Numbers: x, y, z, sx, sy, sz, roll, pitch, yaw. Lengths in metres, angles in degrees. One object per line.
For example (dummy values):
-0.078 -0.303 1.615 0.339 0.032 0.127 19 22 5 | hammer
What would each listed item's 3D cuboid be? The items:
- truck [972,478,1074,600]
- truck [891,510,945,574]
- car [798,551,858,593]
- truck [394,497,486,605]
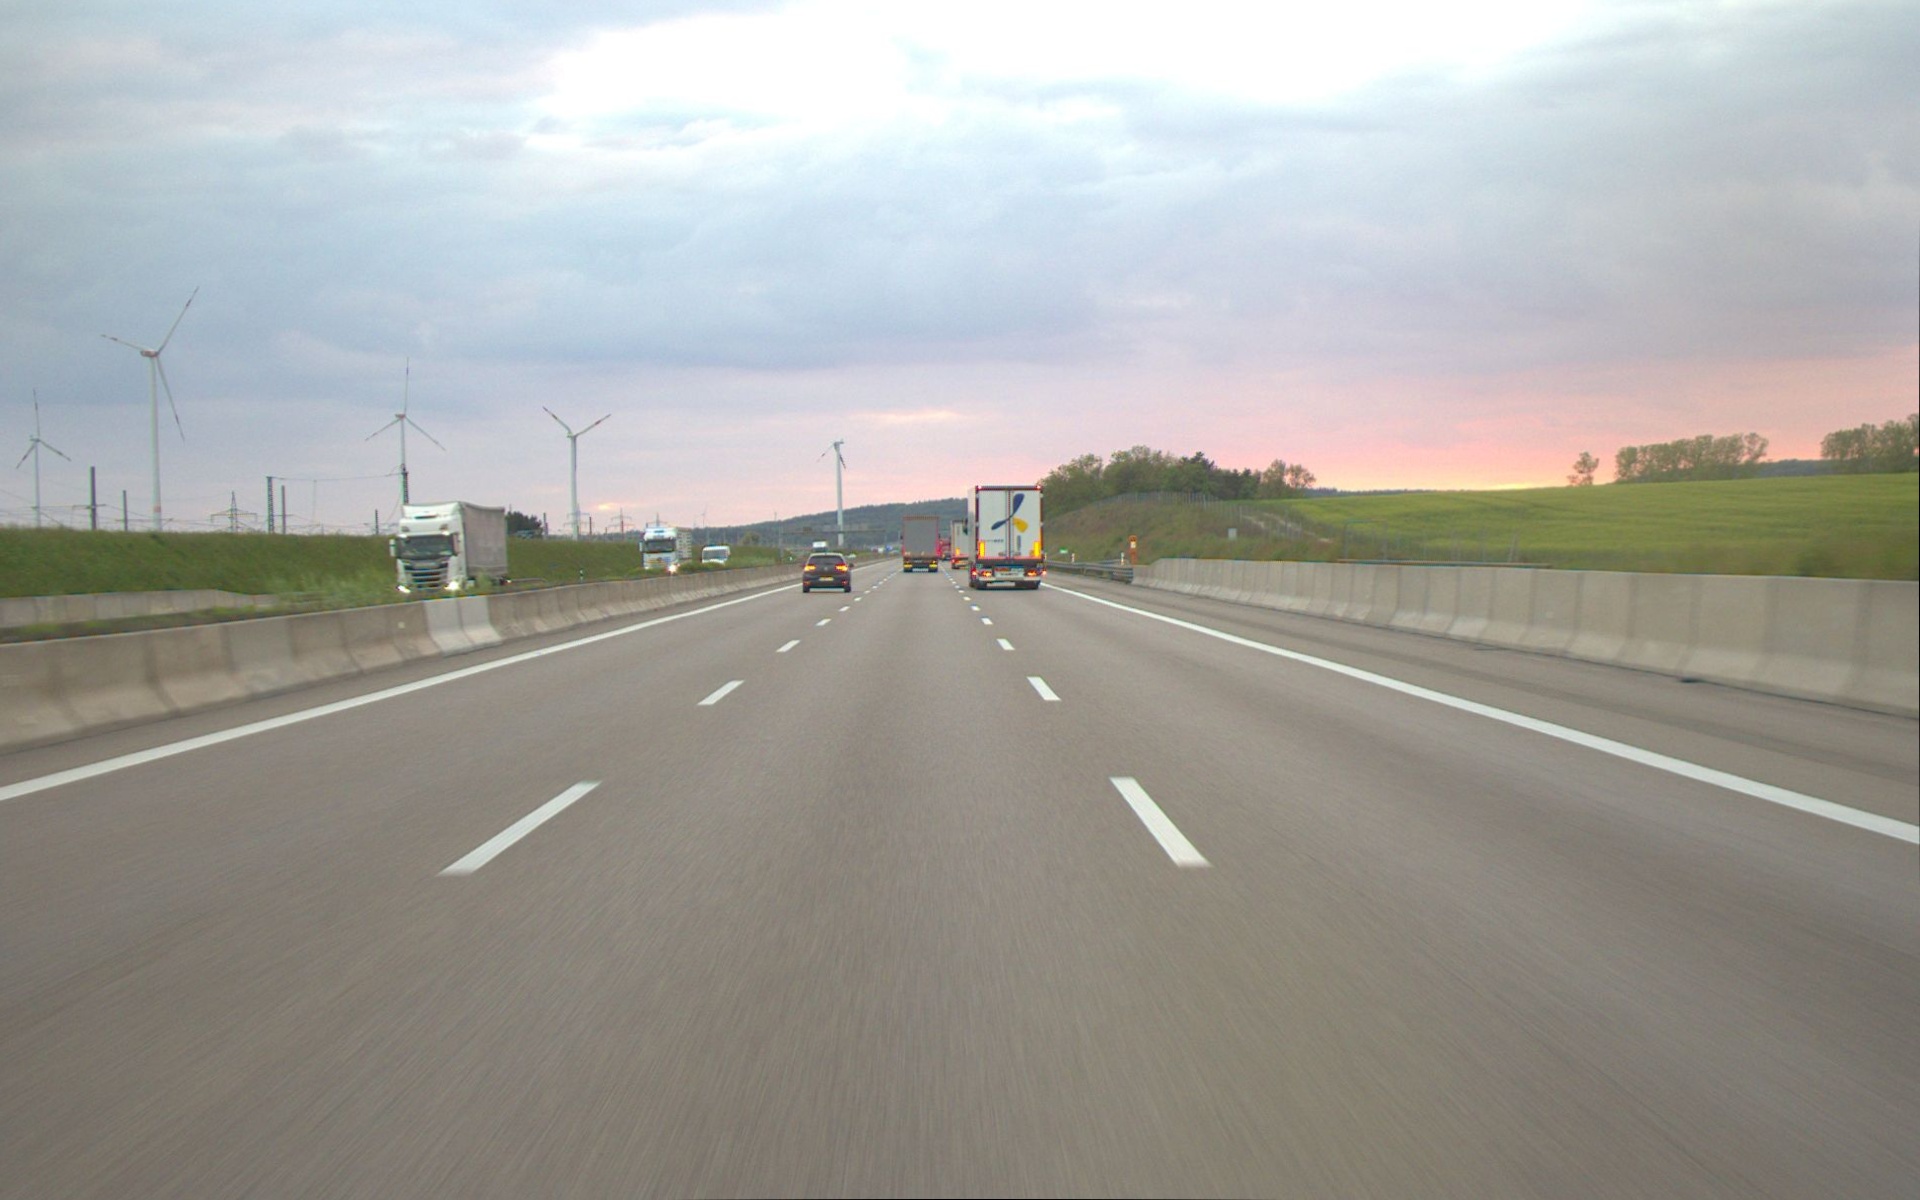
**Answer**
2.399 -2.417 136.126 3.675 4.549 10.981 -2 1 0 | truck
-3.014 -4.133 247.119 3.647 4.399 8.636 -2 1 -1 | truck
-4.835 -1.040 126.453 1.987 1.425 4.000 -2 1 0 | car
-21.346 -2.029 141.502 2.817 4.337 6.739 0 1 0 | truck
